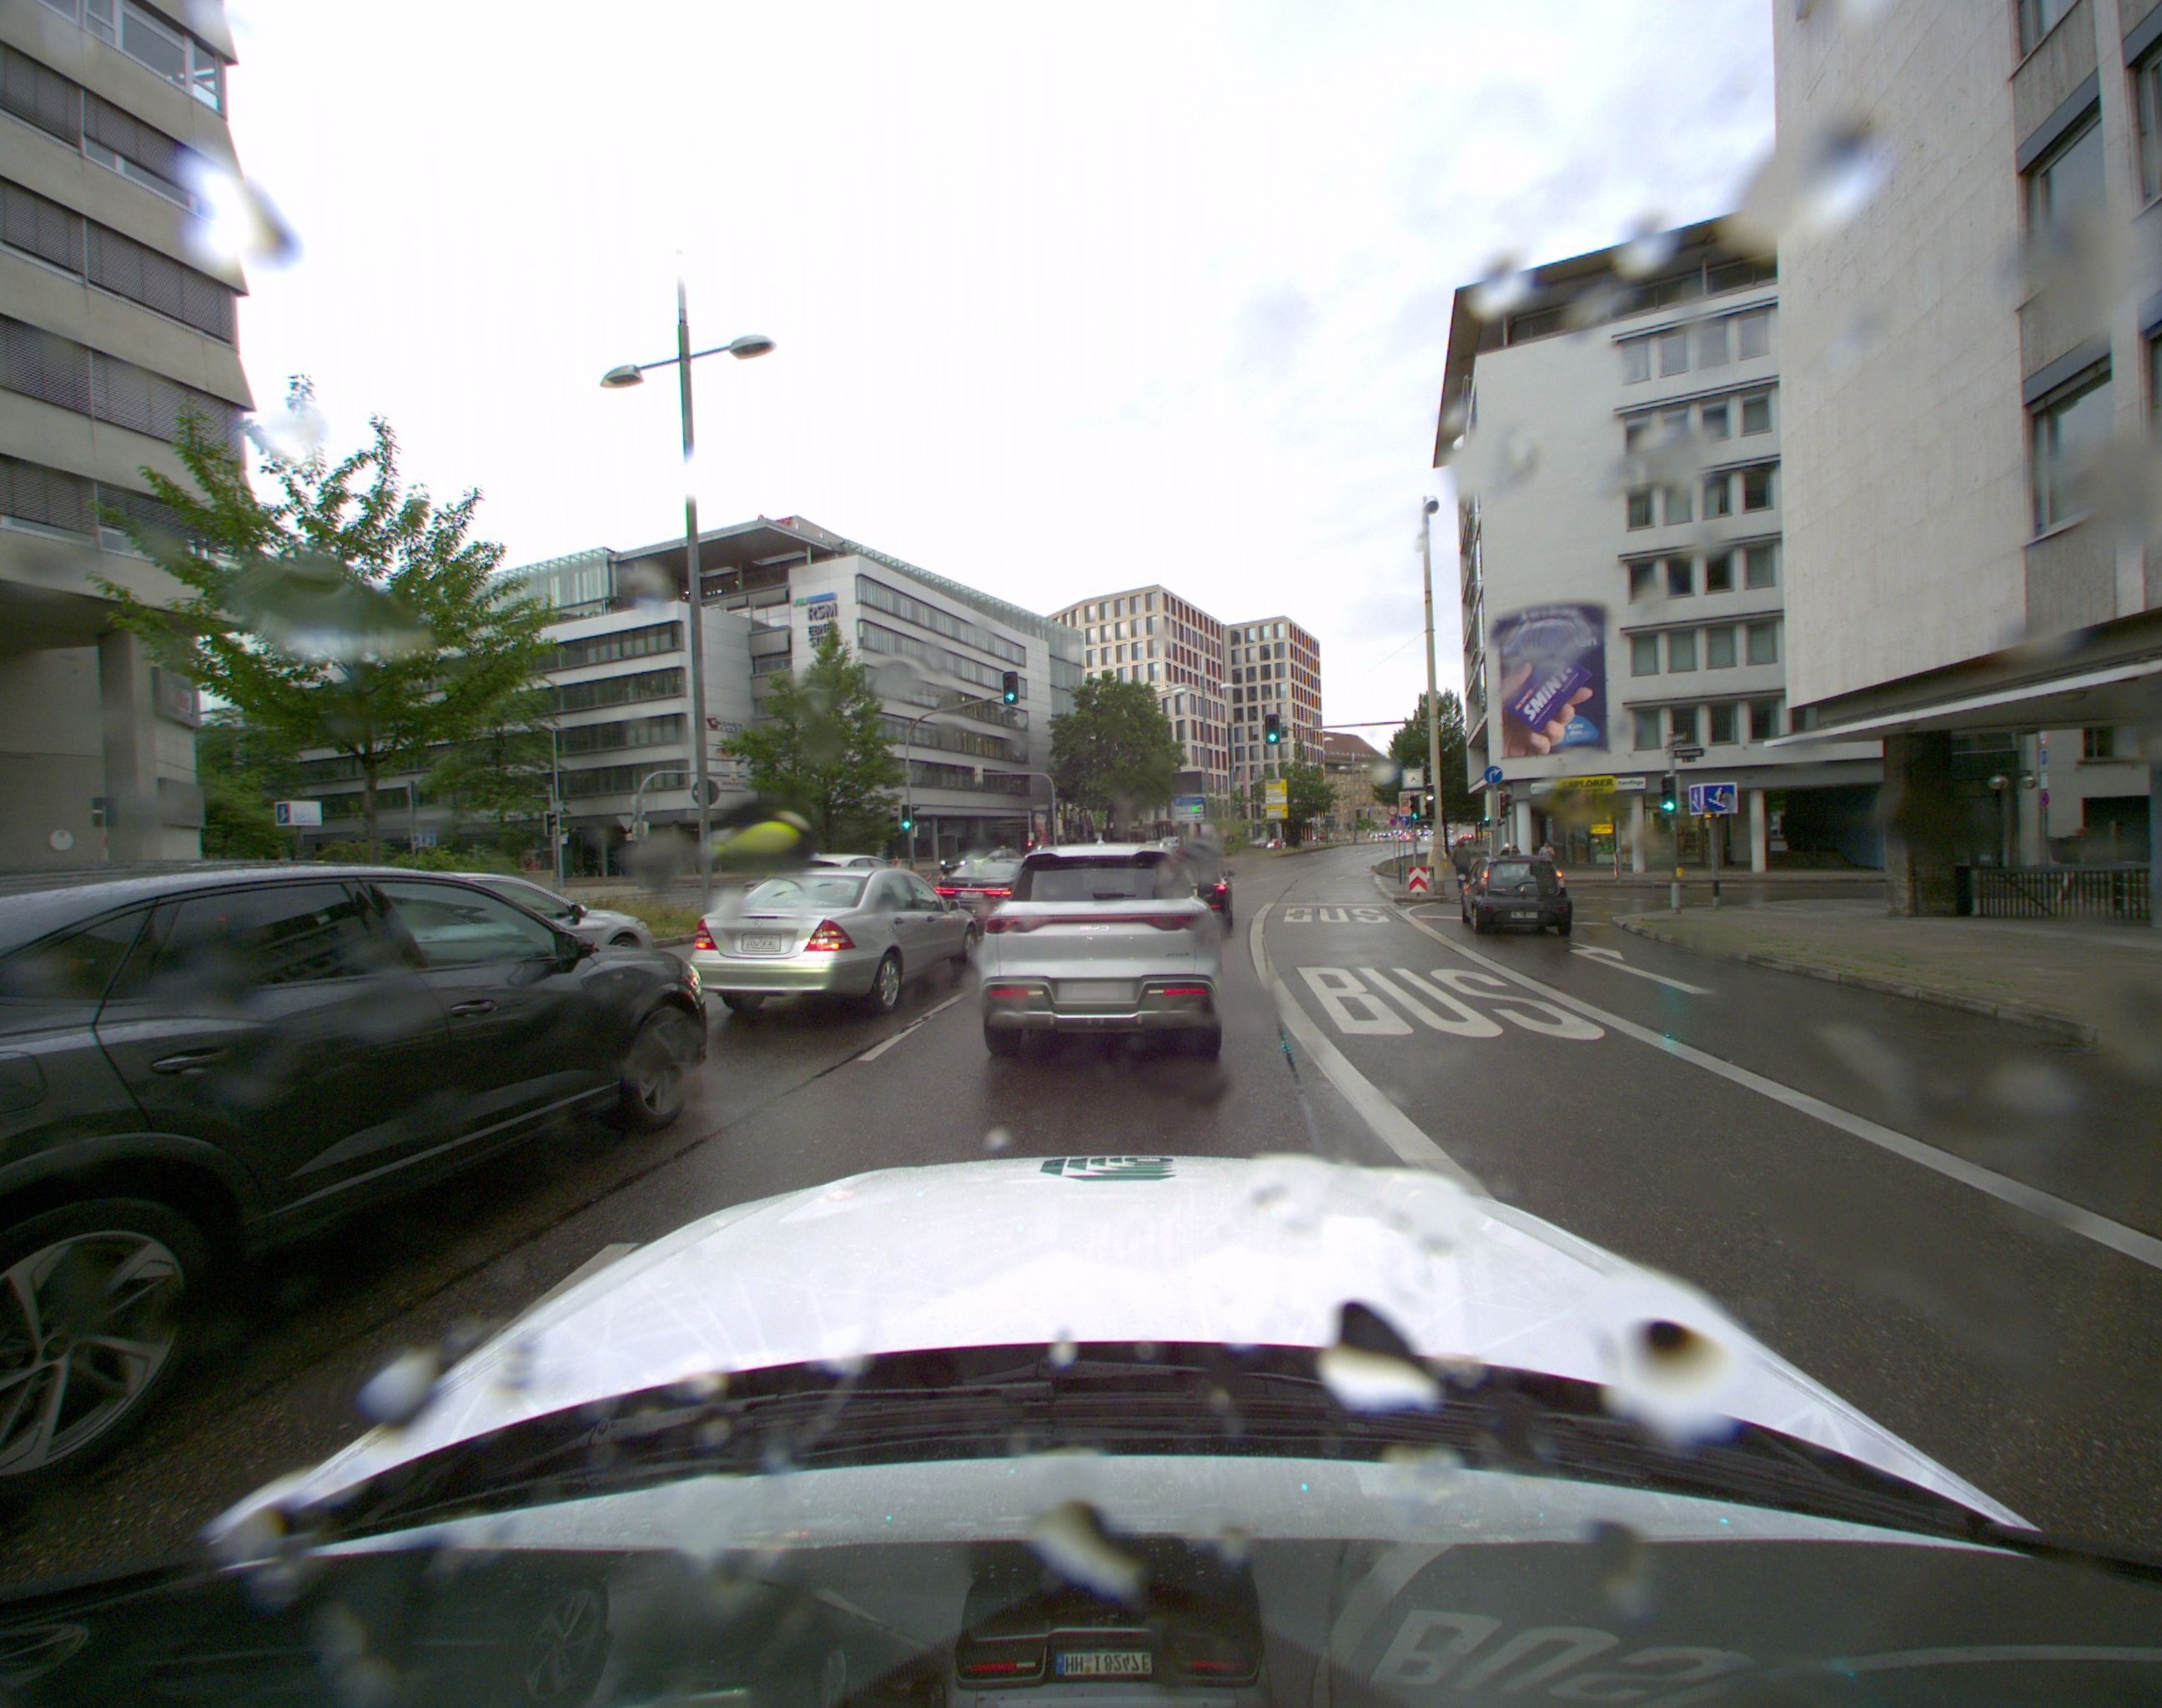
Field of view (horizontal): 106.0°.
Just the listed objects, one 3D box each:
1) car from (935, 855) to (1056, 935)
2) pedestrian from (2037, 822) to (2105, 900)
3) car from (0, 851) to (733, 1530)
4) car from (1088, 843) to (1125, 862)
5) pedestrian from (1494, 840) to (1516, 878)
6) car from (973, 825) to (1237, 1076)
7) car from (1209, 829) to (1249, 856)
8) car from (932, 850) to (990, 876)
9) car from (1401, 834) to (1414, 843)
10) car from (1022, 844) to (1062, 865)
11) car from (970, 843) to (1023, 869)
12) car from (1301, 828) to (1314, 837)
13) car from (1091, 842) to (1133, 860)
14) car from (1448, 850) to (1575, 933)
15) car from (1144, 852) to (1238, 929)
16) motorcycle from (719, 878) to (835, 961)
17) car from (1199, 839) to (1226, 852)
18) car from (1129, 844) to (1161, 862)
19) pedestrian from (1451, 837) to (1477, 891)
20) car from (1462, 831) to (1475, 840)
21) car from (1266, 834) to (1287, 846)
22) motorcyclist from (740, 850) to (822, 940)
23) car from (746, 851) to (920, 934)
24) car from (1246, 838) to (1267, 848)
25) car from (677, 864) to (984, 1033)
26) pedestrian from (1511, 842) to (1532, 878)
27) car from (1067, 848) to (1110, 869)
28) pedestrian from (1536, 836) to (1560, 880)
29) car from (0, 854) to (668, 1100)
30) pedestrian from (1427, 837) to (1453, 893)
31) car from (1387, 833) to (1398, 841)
[{"bbox_3d":[-1.676,0.781,17.269,1.561,1.486,4.010,-1,-1,9],"label":"car"},{"bbox_3d":[22.652,0.162,18.641,0.764,1.731,0.599,-1,0,16],"label":"pedestrian"},{"bbox_3d":[-3.201,0.759,3.233,1.642,1.521,4.274,-1,0,2],"label":"car"},{"bbox_3d":[2.178,-0.138,67.498,1.629,1.581,4.109,-1,0,24],"label":"car"},{"bbox_3d":[18.857,0.208,36.232,0.657,1.655,0.662,-1,0,-45],"label":"pedestrian"},{"bbox_3d":[0.292,0.669,7.506,1.768,1.679,4.004,-1,-1,4],"label":"car"},{"bbox_3d":[11.867,-0.874,64.911,1.975,2.014,4.876,-1,-1,25],"label":"car"},{"bbox_3d":[-7.830,0.556,53.580,1.976,1.610,4.022,1,1,22],"label":"car"},{"bbox_3d":[60.510,-2.789,150.912,1.871,1.643,4.023,-1,0,24],"label":"car"},{"bbox_3d":[-3.037,0.040,64.249,1.624,1.571,3.739,-1,-1,23],"label":"car"},{"bbox_3d":[-5.206,0.107,50.681,1.630,1.536,4.172,-1,0,19],"label":"car"},{"bbox_3d":[45.251,-4.255,162.723,1.590,1.741,3.467,-1,-1,34],"label":"car"},{"bbox_3d":[2.905,-0.298,75.311,1.796,1.510,5.227,-1,1,27],"label":"car"},{"bbox_3d":[8.418,0.672,16.235,1.558,1.429,4.018,-1,-1,18],"label":"car"},{"bbox_3d":[2.508,0.719,17.805,1.682,1.486,4.013,-1,-1,12],"label":"car"},{"bbox_3d":[-4.831,1.002,13.101,0.795,1.185,2.034,-1,-1,11],"label":"motorcycle"},{"bbox_3d":[15.780,-1.059,97.547,1.974,1.488,4.025,-1,1,29],"label":"car"},{"bbox_3d":[6.452,-0.121,81.431,1.616,1.559,4.620,-1,1,25],"label":"car"},{"bbox_3d":[13.035,0.324,27.734,0.742,1.798,0.821,-1,1,22],"label":"pedestrian"},{"bbox_3d":[70.881,-3.351,148.848,1.677,1.486,4.025,-1,-1,32],"label":"car"},{"bbox_3d":[24.038,-1.706,99.965,1.616,1.437,3.931,-1,1,25],"label":"car"},{"bbox_3d":[-4.831,0.642,13.191,0.765,1.380,1.122,-1,-1,11],"label":"motorcyclist"},{"bbox_3d":[-4.911,0.708,16.756,1.696,1.486,4.013,-1,-1,11],"label":"car"},{"bbox_3d":[26.434,-1.658,122.365,1.974,1.488,4.025,-1,1,29],"label":"car"},{"bbox_3d":[-2.429,0.837,9.057,1.561,1.407,4.120,-1,-1,9],"label":"car"},{"bbox_3d":[19.321,0.264,35.745,0.657,1.543,0.618,-1,0,-45],"label":"pedestrian"},{"bbox_3d":[0.581,0.302,56.331,1.675,1.385,3.888,-1,-1,21],"label":"car"},{"bbox_3d":[19.447,0.156,33.887,0.778,1.794,0.662,-1,0,-45],"label":"pedestrian"},{"bbox_3d":[-6.255,0.793,7.665,1.855,1.533,4.786,-1,0,6],"label":"car"},{"bbox_3d":[11.988,0.359,27.197,0.742,1.798,0.821,-1,1,22],"label":"pedestrian"},{"bbox_3d":[77.743,-4.200,203.406,1.975,2.013,4.025,-1,0,29],"label":"car"}]
